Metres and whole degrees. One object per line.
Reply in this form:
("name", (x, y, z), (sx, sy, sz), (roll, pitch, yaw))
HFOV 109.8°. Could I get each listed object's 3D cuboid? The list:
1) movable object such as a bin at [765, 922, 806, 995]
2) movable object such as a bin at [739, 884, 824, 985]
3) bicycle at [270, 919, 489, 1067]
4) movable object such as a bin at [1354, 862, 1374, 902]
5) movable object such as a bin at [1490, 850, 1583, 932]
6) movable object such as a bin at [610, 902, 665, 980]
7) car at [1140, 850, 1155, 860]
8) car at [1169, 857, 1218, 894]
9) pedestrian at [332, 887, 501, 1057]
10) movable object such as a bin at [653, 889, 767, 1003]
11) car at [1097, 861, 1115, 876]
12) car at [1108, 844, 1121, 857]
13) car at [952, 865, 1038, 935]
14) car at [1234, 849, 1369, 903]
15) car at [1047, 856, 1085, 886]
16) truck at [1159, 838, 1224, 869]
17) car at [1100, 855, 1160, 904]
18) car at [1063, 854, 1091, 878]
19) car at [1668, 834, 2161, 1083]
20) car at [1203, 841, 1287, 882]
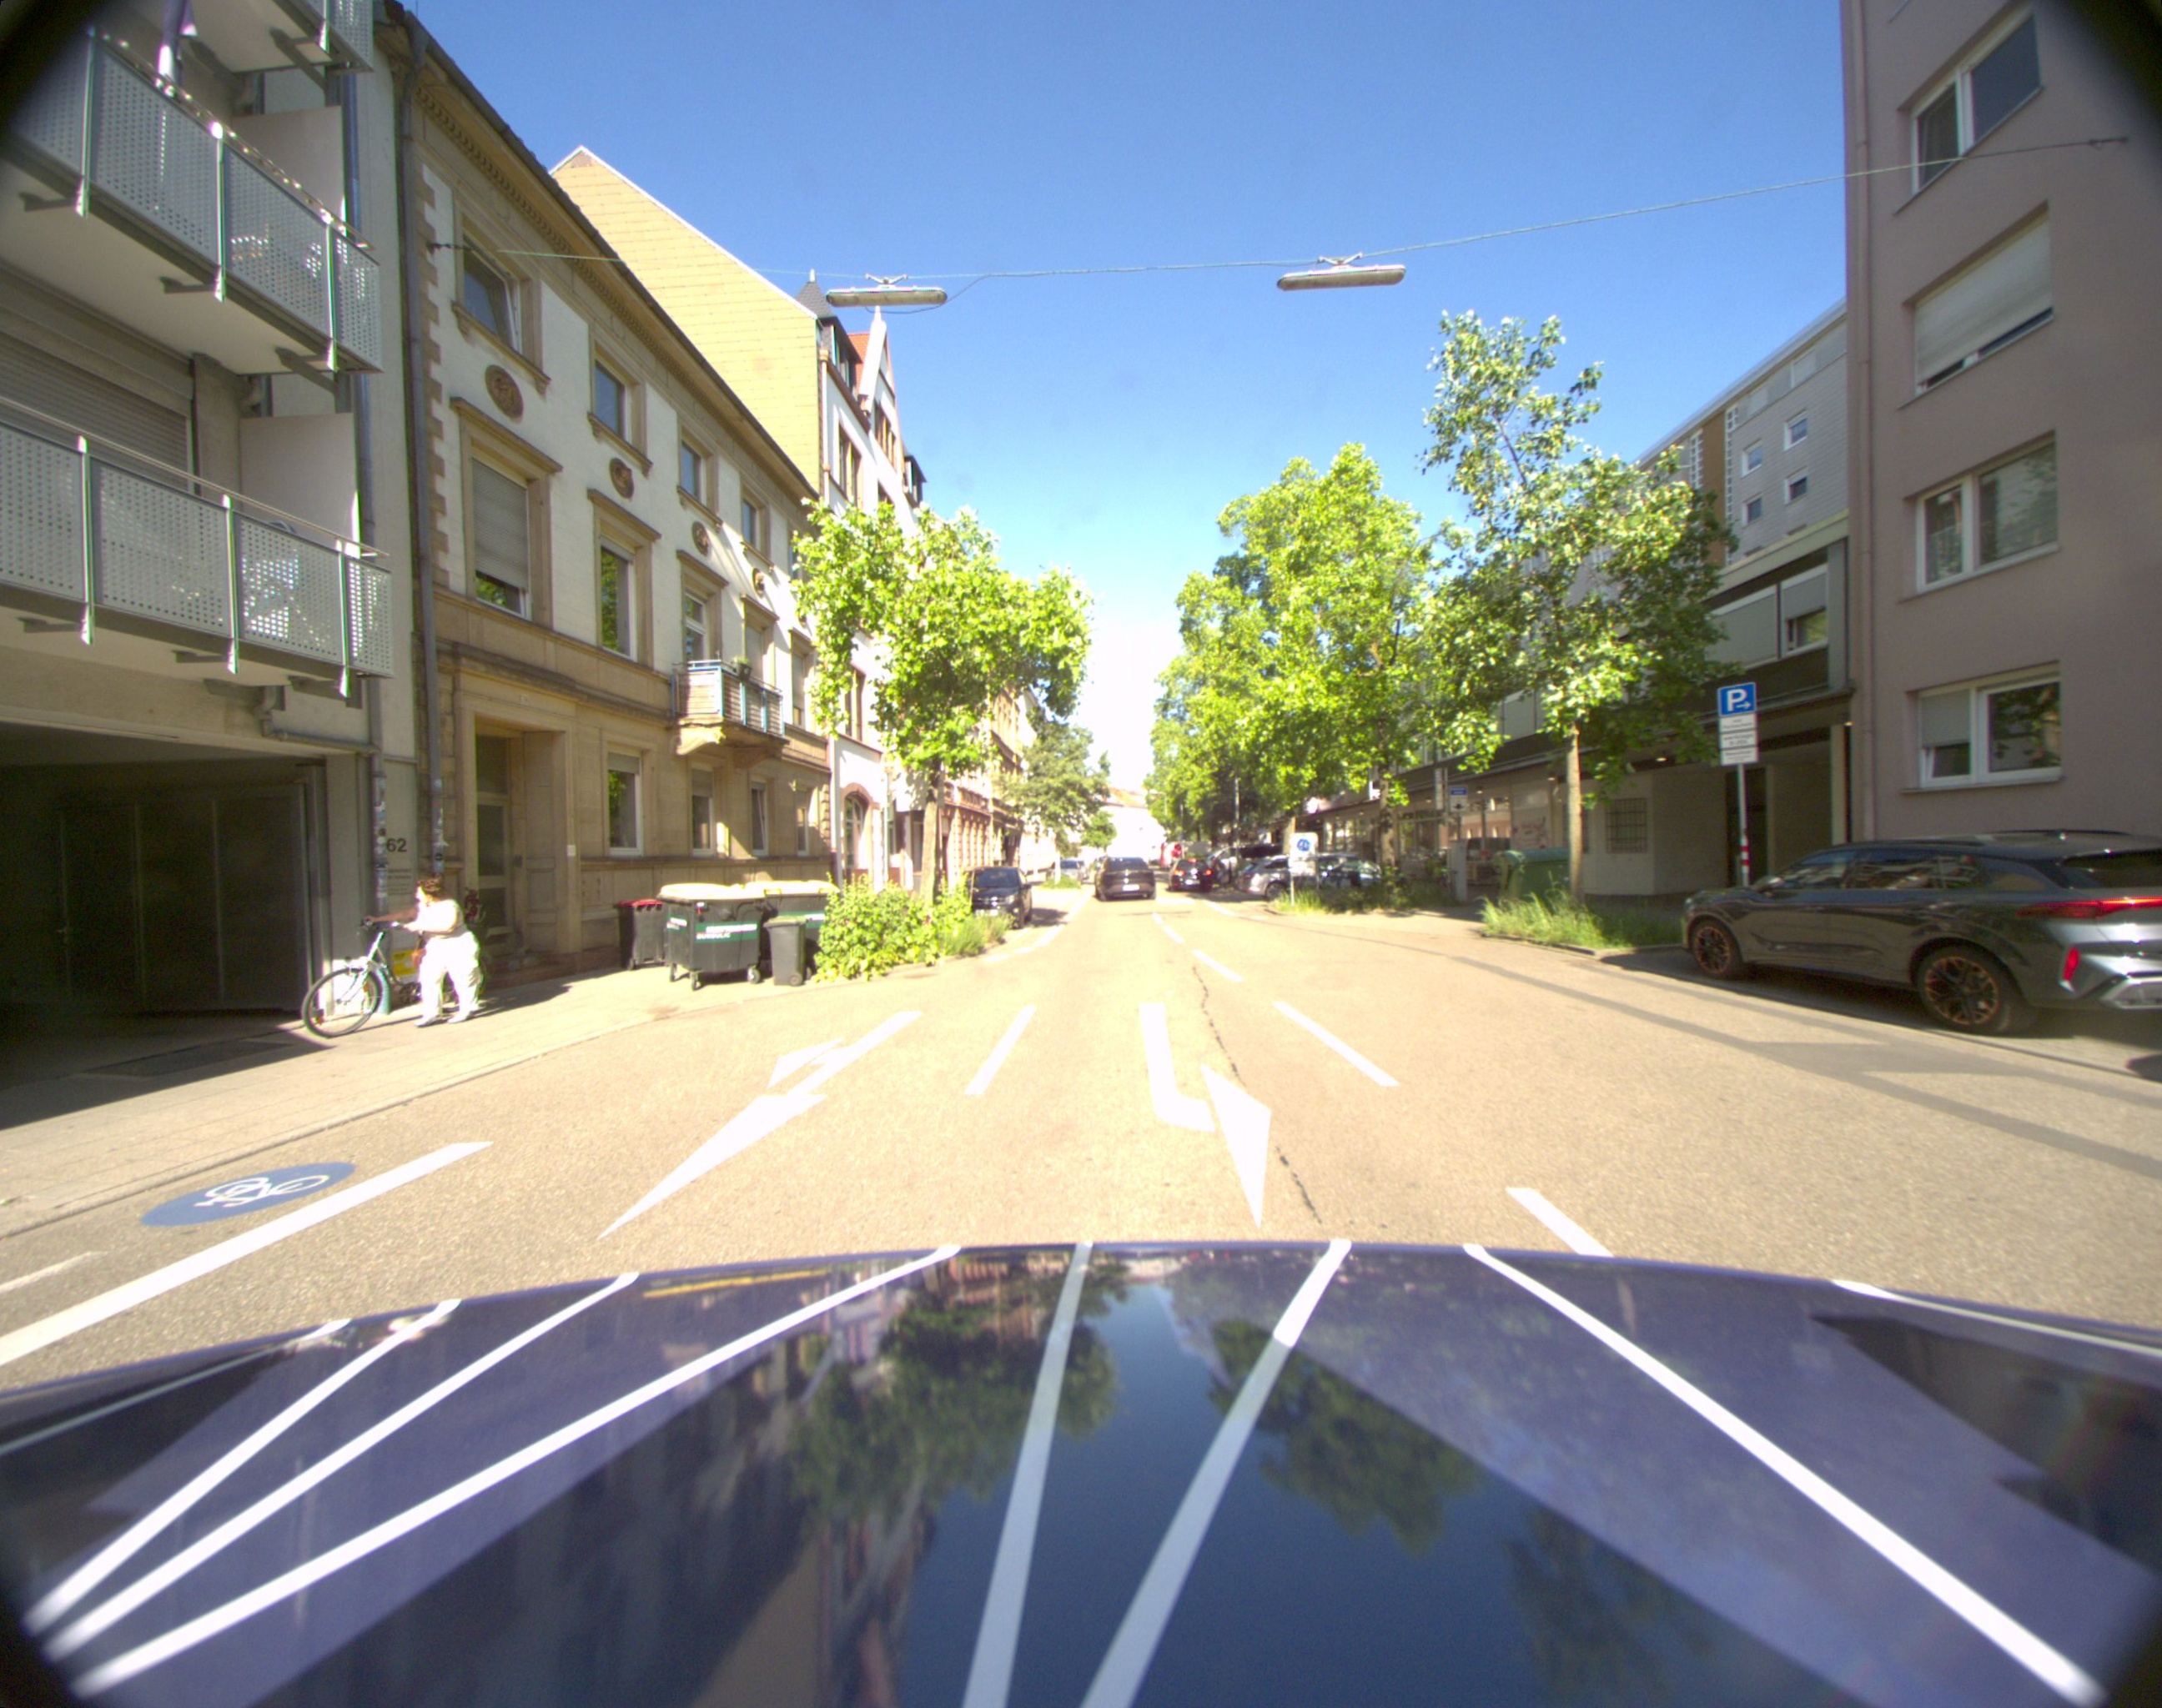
("movable object such as a bin", (-4.031, 1.417, 10.391), (0.401, 0.916, 0.484), (0, 2, -5))
("movable object such as a bin", (-4.492, 1.157, 11.379), (0.960, 1.341, 1.066), (-1, 2, -35))
("bicycle", (-6.822, 1.288, 7.525), (0.402, 1.126, 1.792), (0, 0, 4))
("movable object such as a bin", (8.788, 0.873, 23.604), (0.488, 1.218, 0.410), (-1, 1, 4))
("movable object such as a bin", (8.902, 0.709, 14.905), (1.246, 1.536, 1.019), (-1, 1, 8))
("movable object such as a bin", (-6.722, 1.301, 11.521), (0.568, 1.075, 0.615), (-1, 3, -45))
("car", (13.845, 0.288, 158.292), (1.995, 2.002, 4.006), (-1, 0, 20))
("car", (4.809, 0.879, 32.881), (1.867, 1.455, 4.001), (-2, 0, 5))
("pedestrian", (-6.634, 1.133, 7.636), (0.825, 1.529, 0.947), (2, 1, 3))
("movable object such as a bin", (-5.045, 1.191, 10.327), (1.052, 1.318, 1.212), (-1, 3, -45))
("car", (2.492, 1.423, 75.237), (1.653, 1.447, 3.291), (-1, 0, 3))
("car", (5.443, -0.493, 122.110), (1.998, 2.002, 4.001), (-2, 0, 4))
("car", (-2.032, 1.068, 18.787), (1.551, 1.483, 3.352), (-1, 0, 3))
("car", (7.352, 0.726, 25.667), (3.996, 1.665, 2.000), (-1, 0, 4))
("car", (-0.769, 0.869, 41.281), (1.759, 1.492, 3.950), (-1, 0, 3))
("truck", (9.687, -0.036, 66.770), (5.320, 2.581, 1.999), (-1, 1, -7))
("car", (1.814, 0.874, 28.309), (1.993, 1.598, 4.263), (-2, 0, 4))
("car", (-0.226, 0.777, 50.584), (1.653, 1.483, 3.291), (-1, 0, 3))
("car", (8.002, 0.701, 7.201), (1.821, 1.583, 4.142), (-5, 0, 5))
("car", (8.524, 0.388, 39.742), (3.996, 2.020, 2.000), (-1, 0, 4))
